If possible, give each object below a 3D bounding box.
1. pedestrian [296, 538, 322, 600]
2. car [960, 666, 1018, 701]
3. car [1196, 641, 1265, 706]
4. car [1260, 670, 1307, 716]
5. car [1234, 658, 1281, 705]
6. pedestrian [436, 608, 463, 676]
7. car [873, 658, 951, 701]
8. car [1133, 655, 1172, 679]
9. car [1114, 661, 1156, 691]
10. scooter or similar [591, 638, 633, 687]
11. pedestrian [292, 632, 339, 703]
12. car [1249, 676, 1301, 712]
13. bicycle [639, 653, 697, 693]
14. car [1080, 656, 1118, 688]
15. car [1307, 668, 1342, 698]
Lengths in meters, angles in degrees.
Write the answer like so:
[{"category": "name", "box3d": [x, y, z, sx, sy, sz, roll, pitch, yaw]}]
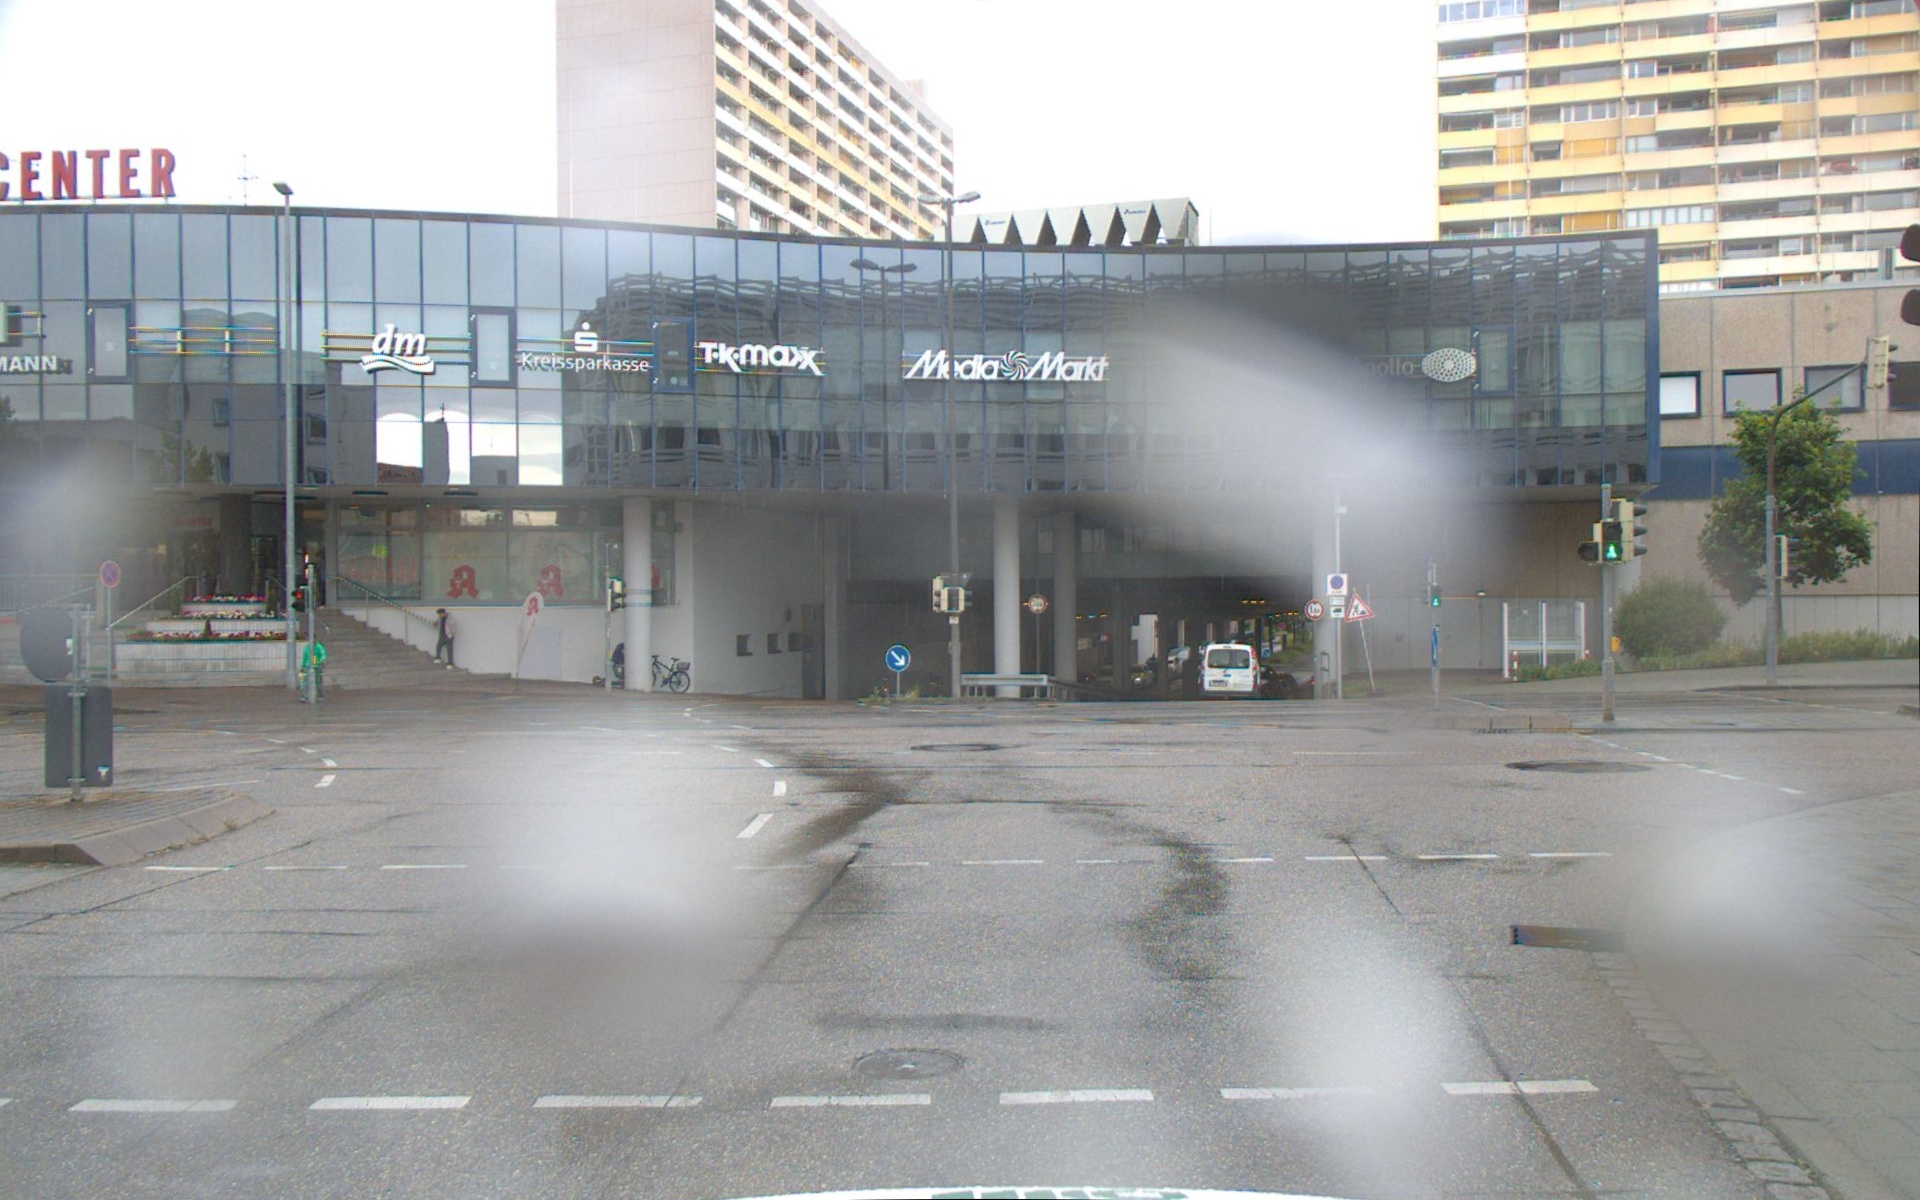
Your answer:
[{"category": "pedestrian", "box3d": [-19.472, -0.915, 49.483, 0.622, 1.839, 0.502, 1, -1, -18]}, {"category": "car", "box3d": [1.353, 3.772, 74.806, 1.733, 1.490, 3.878, -2, -3, 15]}, {"category": "car", "box3d": [8.060, 2.161, 49.100, 1.884, 1.829, 4.299, -1, -2, 10]}, {"category": "car", "box3d": [13.944, 3.961, 71.116, 1.753, 1.802, 4.003, -2, -1, 14]}, {"category": "car", "box3d": [11.071, 3.037, 61.504, 1.598, 1.640, 4.265, -2, -4, 11]}, {"category": "pedestrian", "box3d": [-14.619, 1.207, 47.375, 0.643, 1.942, 0.593, 0, -1, -8]}, {"category": "car", "box3d": [-1.787, 3.058, 63.012, 1.852, 1.496, 4.029, -1, -5, 16]}, {"category": "car", "box3d": [12.820, 4.427, 110.003, 1.951, 1.489, 4.003, -2, -1, 15]}, {"category": "car", "box3d": [10.832, 4.696, 102.340, 1.951, 1.693, 4.003, 1, -1, 15]}, {"category": "scooter or similar", "box3d": [-10.198, 1.825, 48.493, 1.147, 1.397, 0.487, 1, -1, -16]}, {"category": "pedestrian", "box3d": [-15.403, 1.600, 39.558, 0.933, 1.652, 0.806, -1, -1, -14]}, {"category": "car", "box3d": [12.716, 3.810, 66.703, 1.741, 1.425, 4.002, -2, -4, 15]}, {"category": "bicycle", "box3d": [-8.662, 2.174, 49.024, 1.566, 1.036, 0.447, 7, -3, -31]}, {"category": "car", "box3d": [8.139, 4.208, 96.531, 1.797, 1.758, 4.003, -1, -1, 11]}, {"category": "car", "box3d": [20.172, 4.564, 91.463, 1.847, 1.517, 3.844, 1, -1, 13]}]
